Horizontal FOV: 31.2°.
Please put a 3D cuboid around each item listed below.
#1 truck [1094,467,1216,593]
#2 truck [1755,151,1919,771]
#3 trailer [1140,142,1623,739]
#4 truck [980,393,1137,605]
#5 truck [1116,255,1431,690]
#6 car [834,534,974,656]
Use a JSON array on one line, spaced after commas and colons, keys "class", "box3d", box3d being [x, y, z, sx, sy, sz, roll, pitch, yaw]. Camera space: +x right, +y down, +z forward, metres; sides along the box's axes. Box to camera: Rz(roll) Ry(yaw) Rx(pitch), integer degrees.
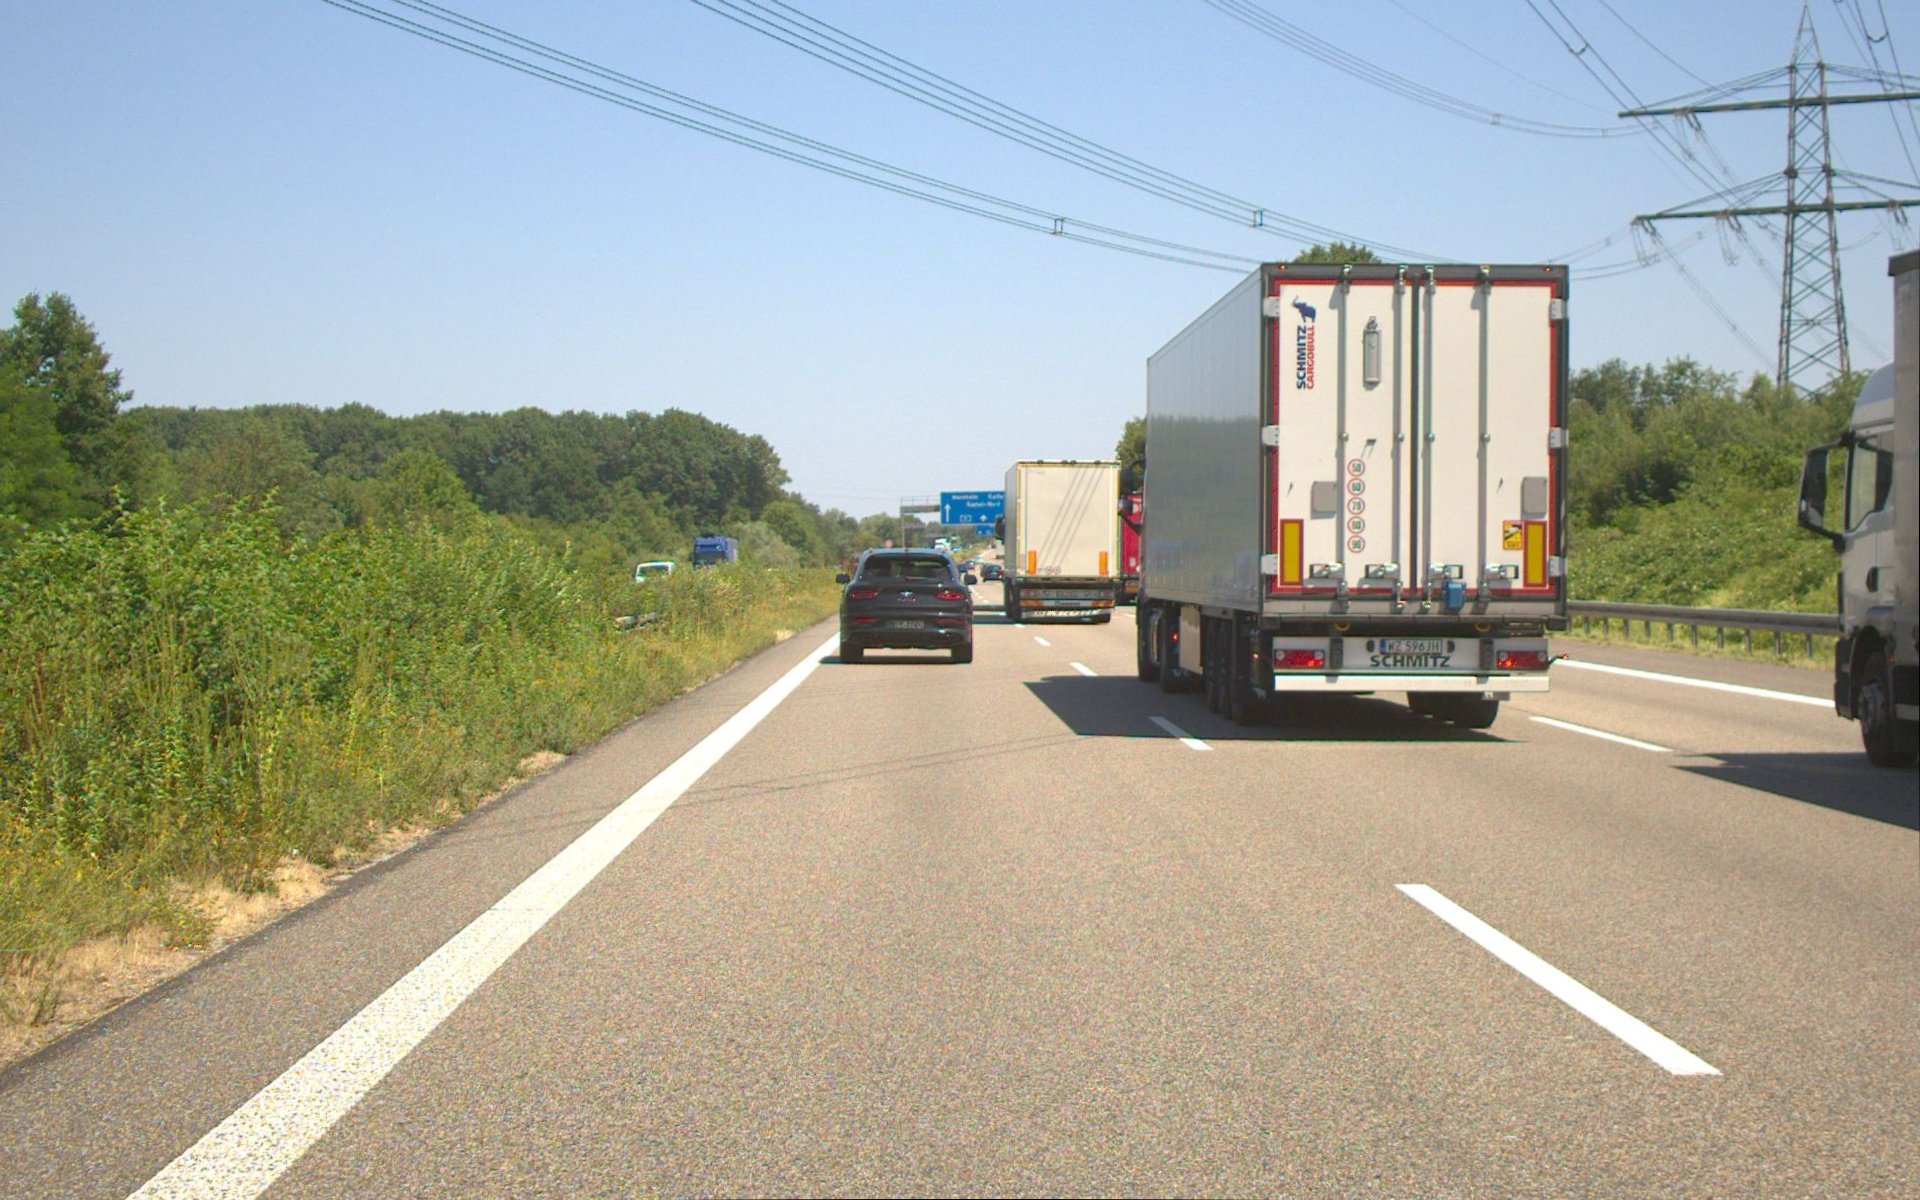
[{"class": "truck", "box3d": [7.265, -2.621, 129.960, 3.512, 4.477, 13.252, 1, 1, -1]}, {"class": "truck", "box3d": [8.355, -0.906, 21.870, 3.570, 4.230, 11.653, 1, 1, -1]}, {"class": "trailer", "box3d": [3.807, -1.388, 34.548, 3.087, 4.868, 12.259, 1, 1, -1]}, {"class": "truck", "box3d": [2.436, -2.559, 89.041, 3.512, 5.149, 10.259, 1, 1, -1]}, {"class": "truck", "box3d": [3.700, -1.480, 42.255, 3.087, 4.868, 6.598, 1, 1, -1]}, {"class": "car", "box3d": [-0.892, -0.114, 52.307, 1.993, 1.766, 4.001, -1, 1, -2]}]
